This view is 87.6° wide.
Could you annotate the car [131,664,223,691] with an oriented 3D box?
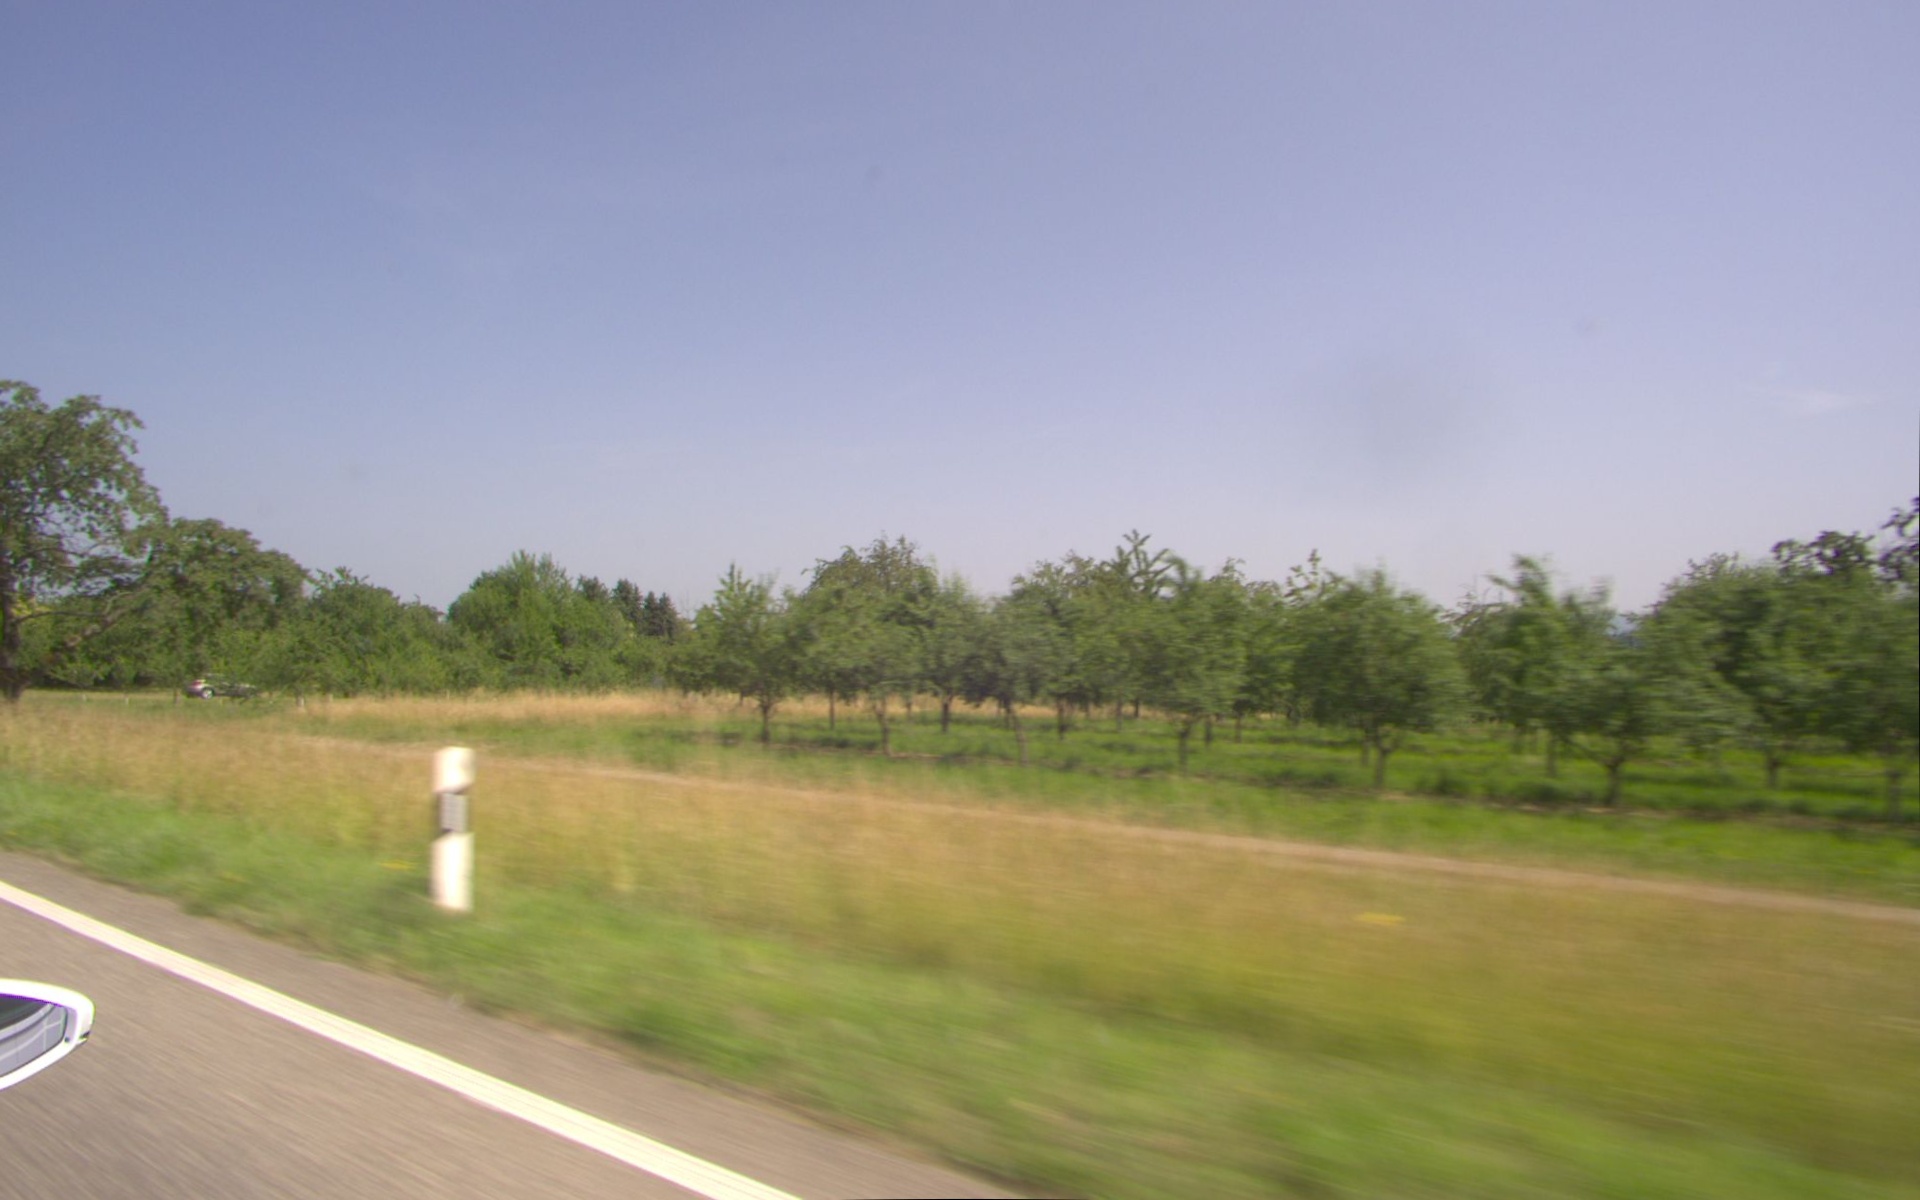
[{"bbox_3d":[-48.736,4.874,62.413,1.826,1.552,4.087,-1,-6,23],"label":"car"}]
